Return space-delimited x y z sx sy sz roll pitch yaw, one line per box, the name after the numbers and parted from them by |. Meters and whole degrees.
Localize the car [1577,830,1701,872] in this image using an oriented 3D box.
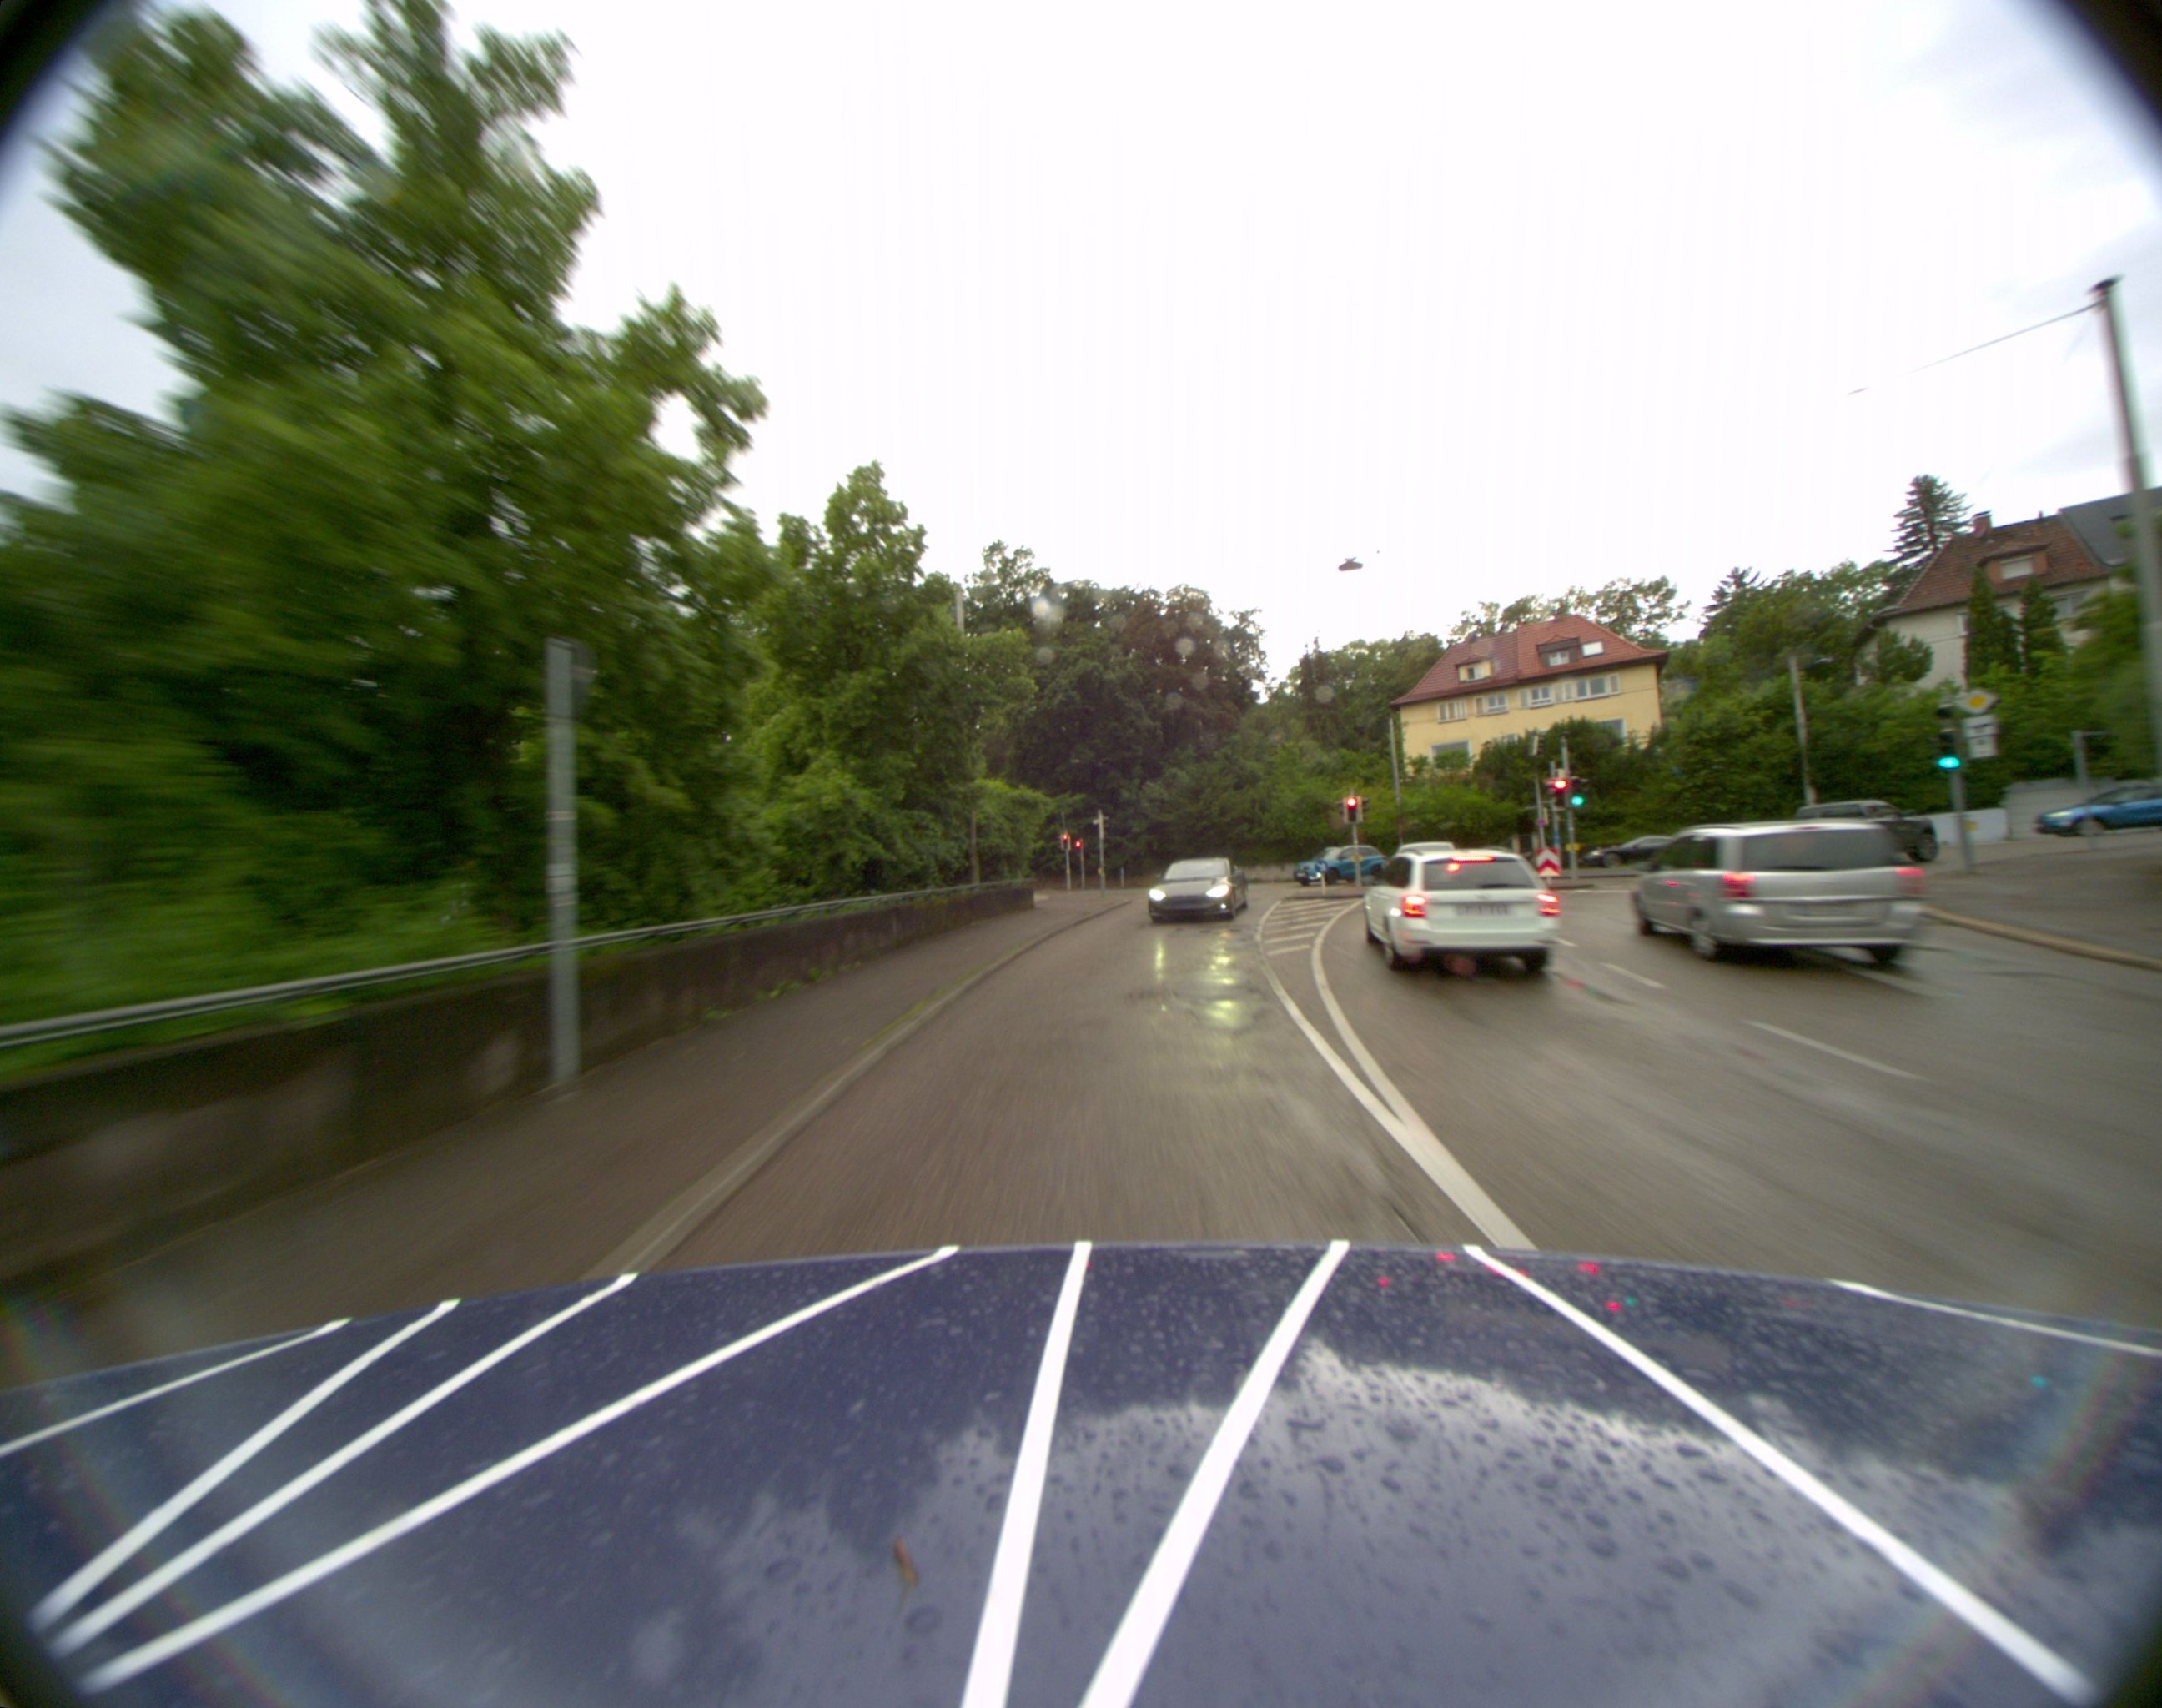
23.553 -0.084 32.129 4.031 1.450 1.763 -5 -4 40 | car

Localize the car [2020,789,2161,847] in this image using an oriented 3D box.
35.117 -1.246 25.540 4.031 1.639 1.763 -5 -3 34 | car

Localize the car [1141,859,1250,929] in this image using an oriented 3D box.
2.939 0.911 18.702 1.833 1.384 4.329 -2 1 19 | car

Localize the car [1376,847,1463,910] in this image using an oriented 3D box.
8.952 0.563 20.083 1.860 1.387 4.603 -1 1 25 | car

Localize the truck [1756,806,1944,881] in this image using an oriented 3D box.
21.006 -0.330 20.724 5.286 1.838 1.885 -2 1 -24 | truck

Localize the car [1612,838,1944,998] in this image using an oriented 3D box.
8.529 0.627 9.860 1.712 1.576 4.467 -2 0 23 | car

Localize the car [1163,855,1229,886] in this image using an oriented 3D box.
6.631 0.994 43.802 3.358 1.441 1.556 -5 -6 22 | car

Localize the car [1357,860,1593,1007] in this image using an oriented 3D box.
4.873 0.829 10.117 1.850 1.465 4.446 0 0 15 | car

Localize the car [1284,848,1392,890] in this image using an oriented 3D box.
10.853 0.621 32.137 4.045 1.599 1.800 -1 -5 -22 | car
